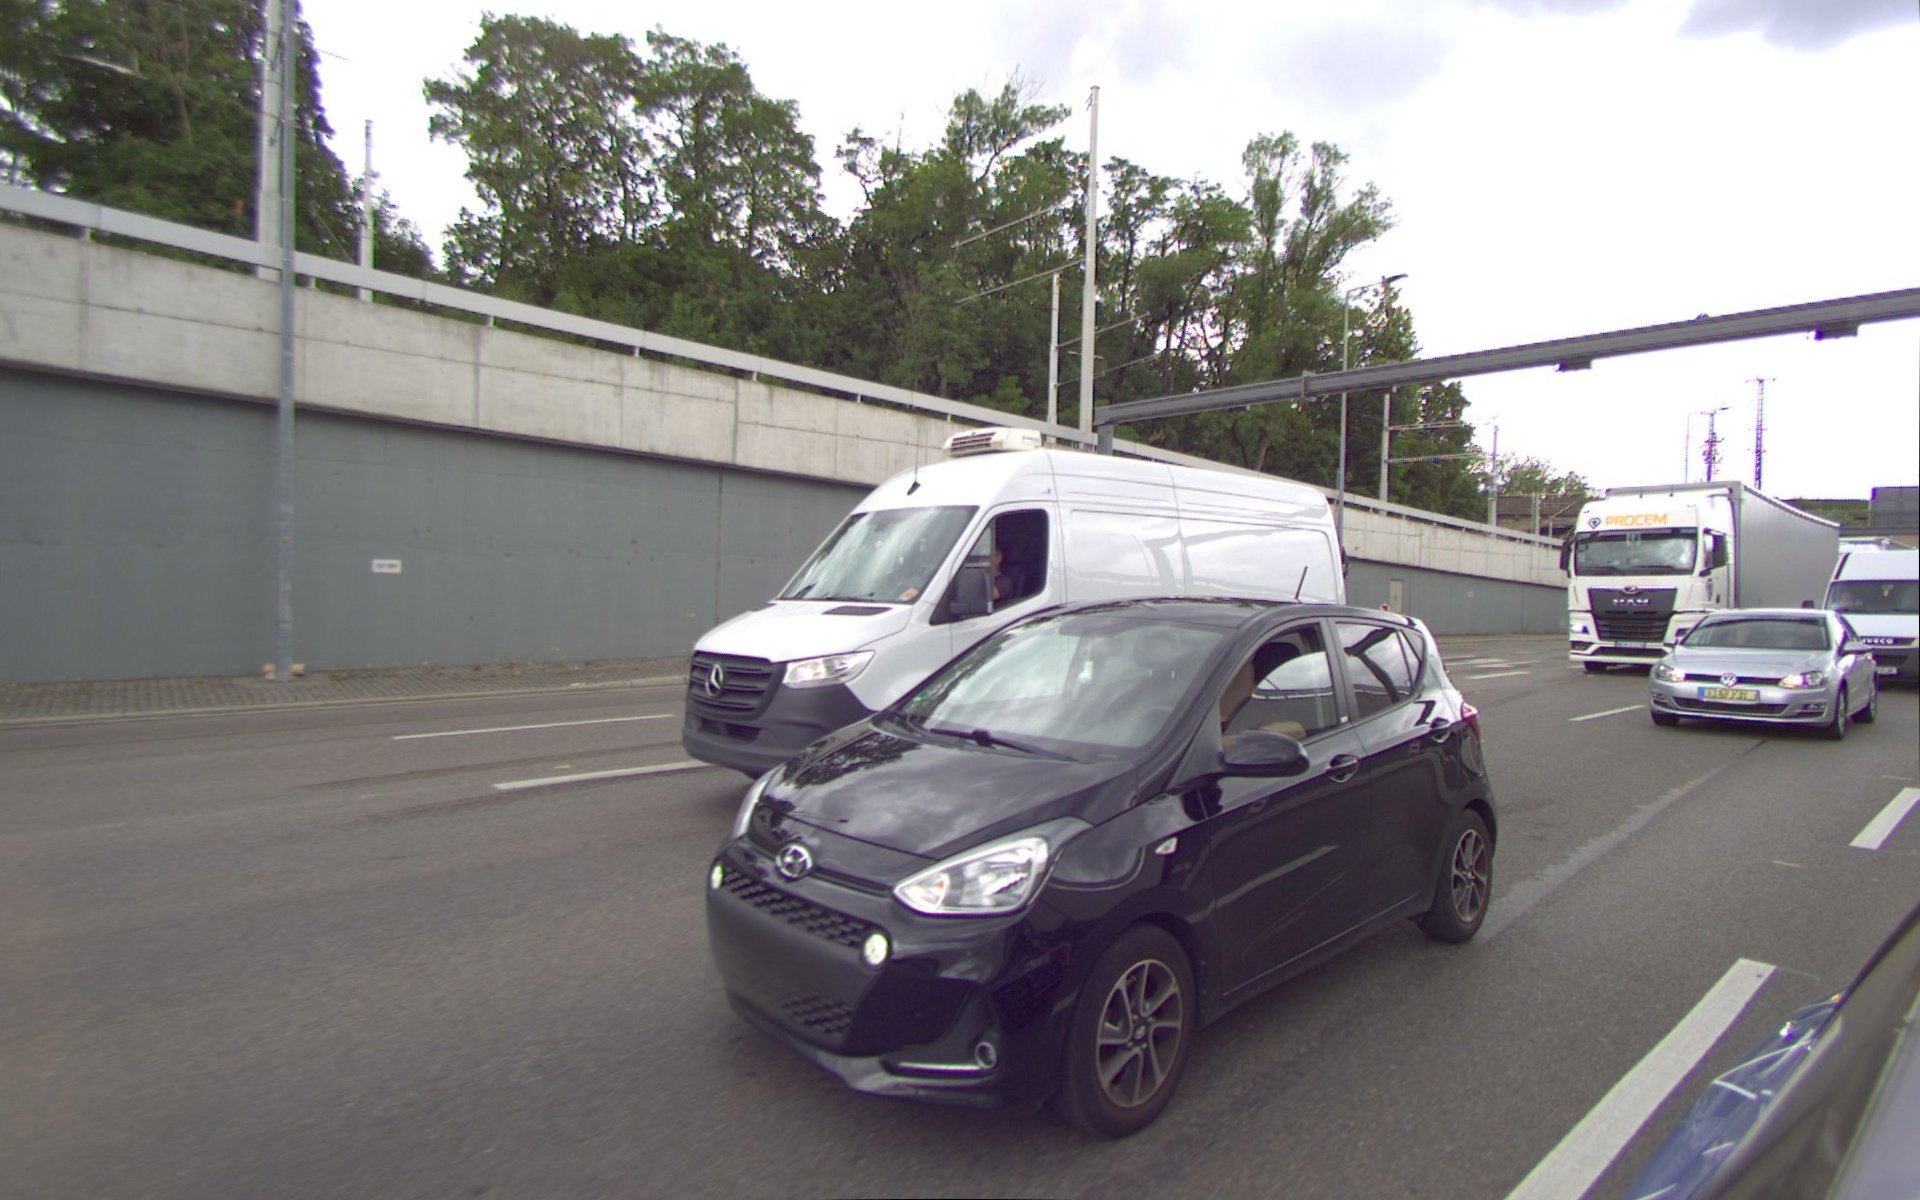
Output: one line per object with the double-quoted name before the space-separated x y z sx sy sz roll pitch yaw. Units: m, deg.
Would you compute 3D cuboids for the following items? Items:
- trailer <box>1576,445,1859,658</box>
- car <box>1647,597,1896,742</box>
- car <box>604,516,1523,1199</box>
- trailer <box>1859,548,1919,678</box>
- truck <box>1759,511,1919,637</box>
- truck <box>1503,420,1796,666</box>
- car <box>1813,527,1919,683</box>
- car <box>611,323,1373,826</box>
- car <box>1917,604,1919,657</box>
"trailer" 21.051 -1.048 27.669 11.902 4.690 3.811 0 -1 -41
"car" 9.957 0.699 12.311 3.970 1.400 1.766 -1 2 -42
"car" 0.695 0.621 4.053 3.629 1.564 1.684 1 -1 -43
"trailer" 21.629 0.217 22.299 4.726 2.672 2.106 -1 0 -41
"truck" 34.026 -0.847 38.563 10.791 4.194 3.730 0 0 -41
"truck" 15.890 -1.076 23.126 7.312 4.690 3.811 0 -1 -41
"car" 18.371 0.163 19.488 5.838 2.662 2.060 2 -4 -41
"car" 0.894 -0.136 8.836 7.199 2.808 2.078 1 0 -42
"car" 27.779 0.811 27.826 4.271 1.415 1.719 -1 1 -41
